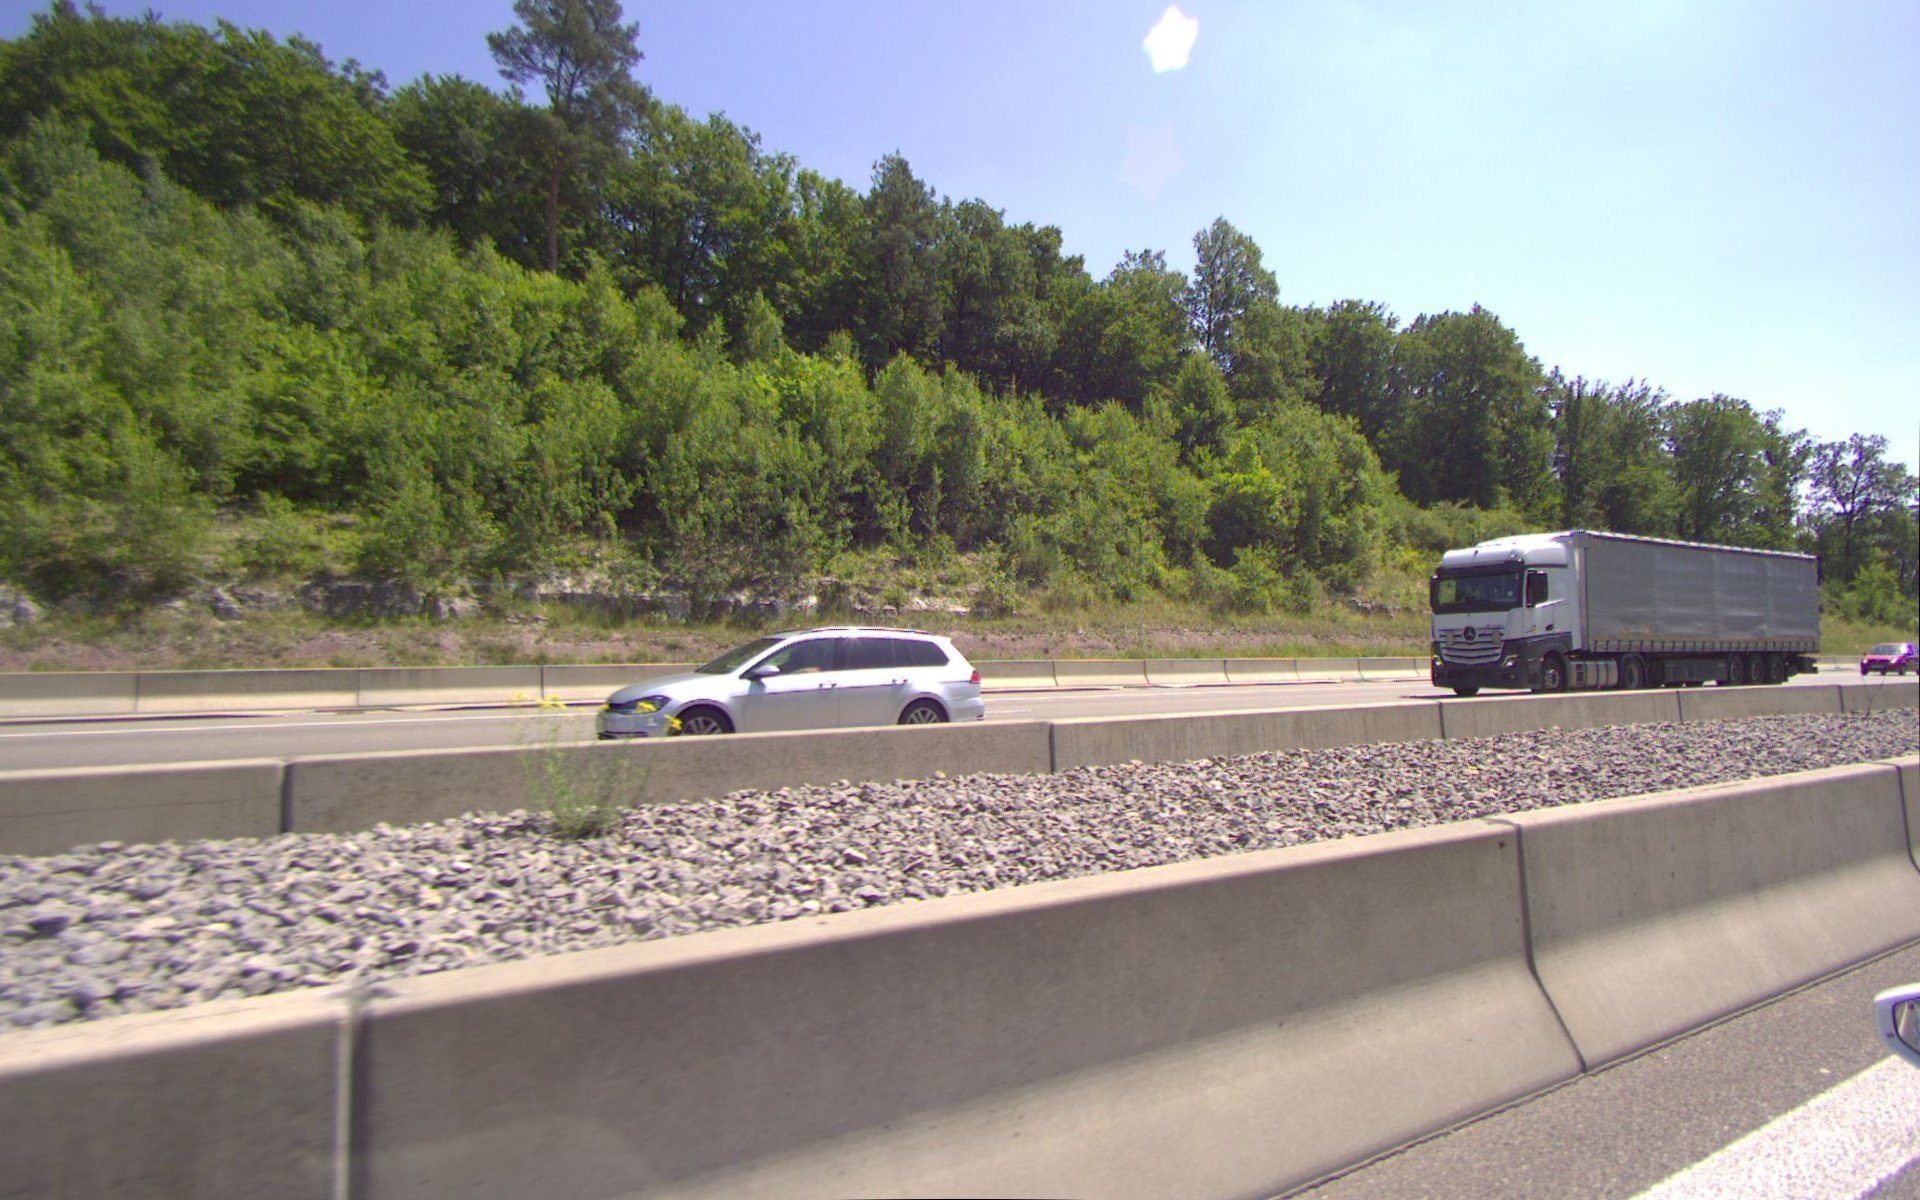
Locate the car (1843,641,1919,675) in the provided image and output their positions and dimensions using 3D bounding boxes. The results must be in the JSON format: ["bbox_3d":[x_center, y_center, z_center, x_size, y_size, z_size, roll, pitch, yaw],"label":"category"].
[{"bbox_3d":[44.477,2.774,48.385,3.677,1.520,1.862,1,-2,-31],"label":"car"}]

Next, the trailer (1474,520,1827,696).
[{"bbox_3d":[20.606,0.414,29.441,13.681,4.309,3.085,2,-3,-31],"label":"trailer"}]

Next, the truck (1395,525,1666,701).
[{"bbox_3d":[14.882,0.403,26.132,6.718,4.035,3.250,1,-2,-31],"label":"truck"}]

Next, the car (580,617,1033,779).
[{"bbox_3d":[-1.669,1.015,11.753,5.001,1.568,1.671,1,-2,-31],"label":"car"}]
